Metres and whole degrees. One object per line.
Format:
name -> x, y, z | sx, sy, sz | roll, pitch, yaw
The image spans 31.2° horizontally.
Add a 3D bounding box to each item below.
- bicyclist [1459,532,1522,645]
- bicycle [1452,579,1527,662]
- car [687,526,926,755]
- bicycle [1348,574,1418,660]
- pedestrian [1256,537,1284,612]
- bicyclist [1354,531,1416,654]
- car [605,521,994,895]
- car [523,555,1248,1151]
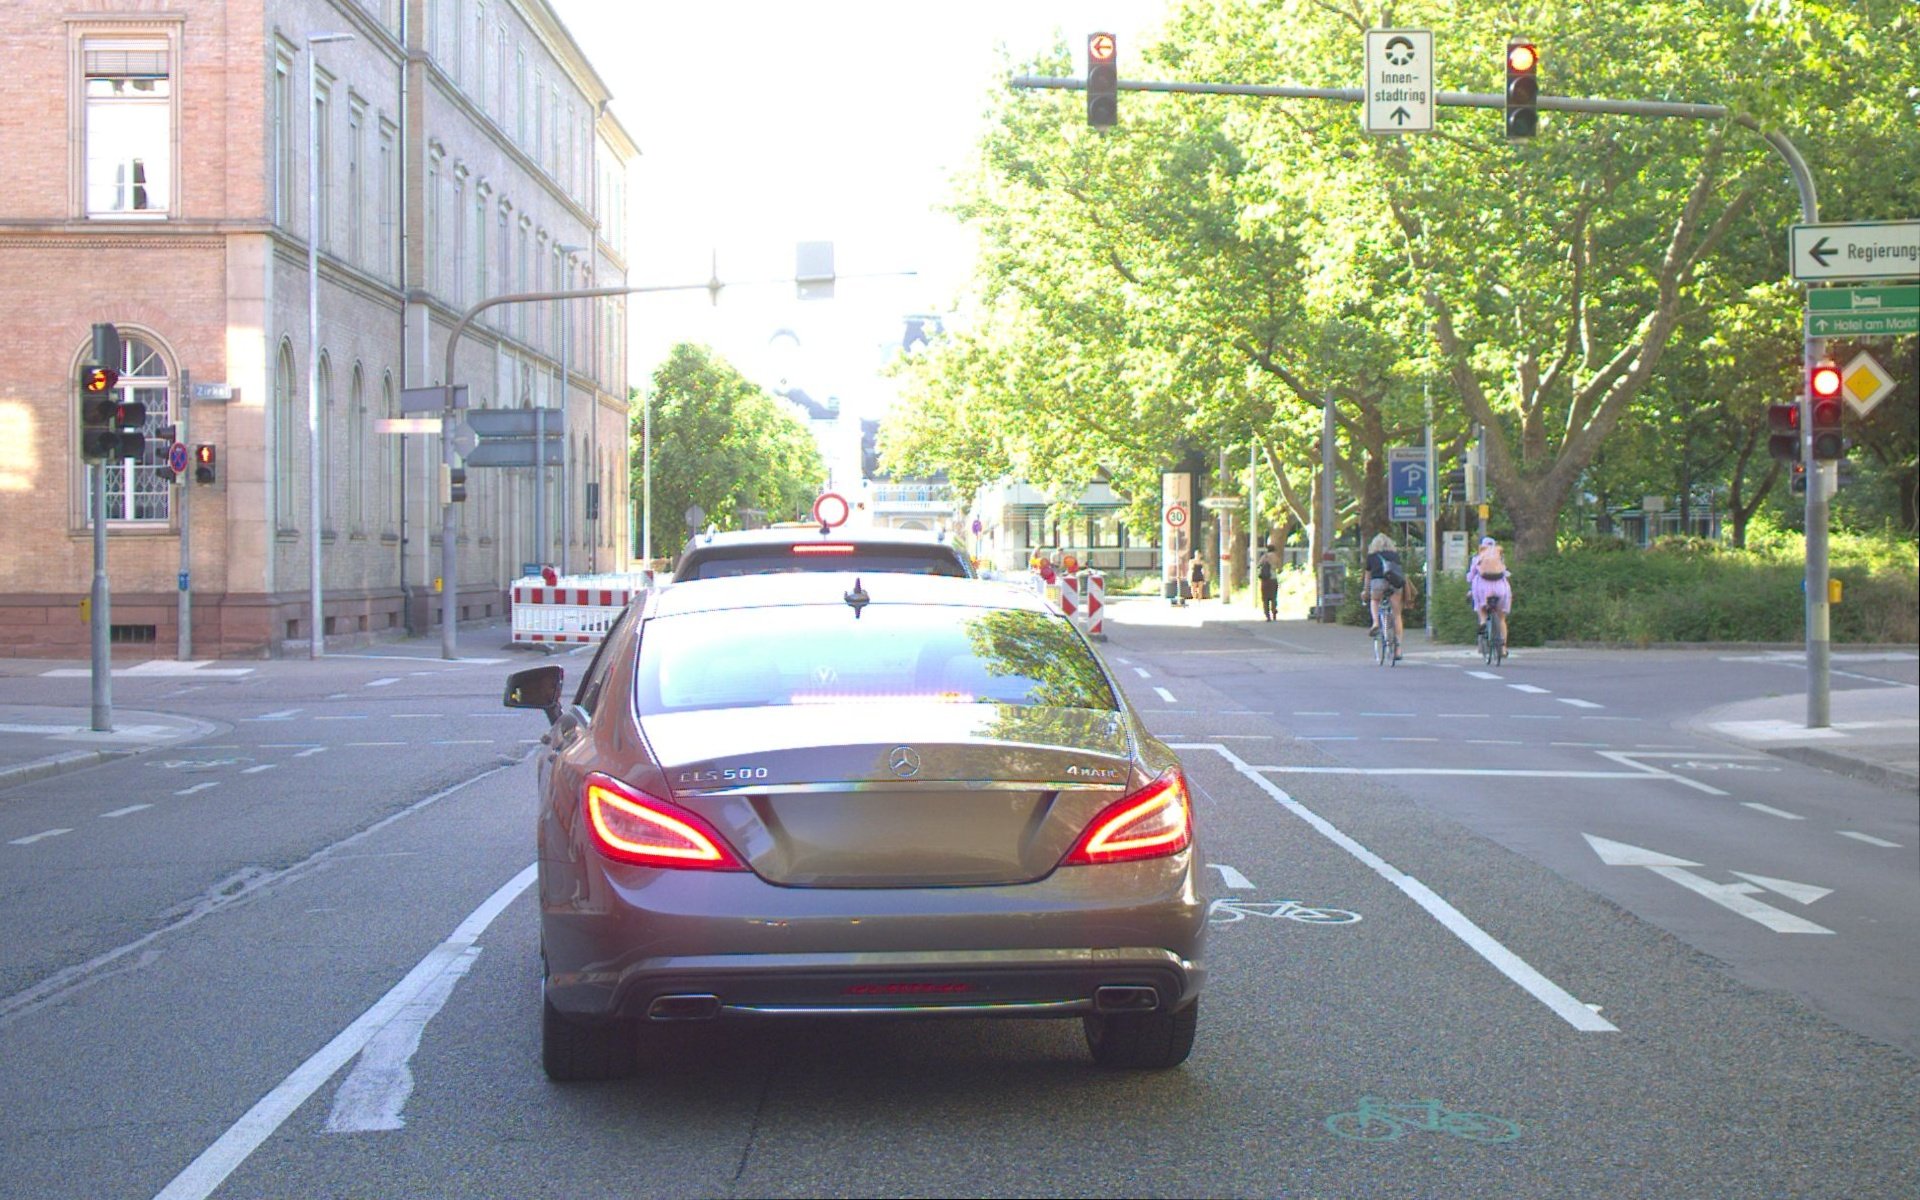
bicyclist -> 6.649, -0.151, 43.125 | 0.600, 1.397, 0.931 | 2, 1, -1
bicycle -> 6.639, 0.243, 43.186 | 0.600, 0.981, 1.881 | 2, 1, -1
car -> -1.147, 0.263, 26.234 | 1.681, 1.619, 3.841 | 0, 1, -2
bicycle -> 5.294, 0.201, 43.084 | 0.610, 1.023, 1.731 | 2, 1, -1
pedestrian -> 6.933, -0.577, 76.916 | 0.559, 1.672, 0.564 | 0, 1, -1
bicyclist -> 5.310, -0.099, 42.973 | 0.610, 1.511, 0.890 | 2, 1, -1
car -> -0.757, 0.442, 16.815 | 1.681, 1.619, 3.841 | 0, 1, -2
car -> -0.450, 0.598, 10.781 | 1.821, 1.471, 4.354 | 0, 1, -7
